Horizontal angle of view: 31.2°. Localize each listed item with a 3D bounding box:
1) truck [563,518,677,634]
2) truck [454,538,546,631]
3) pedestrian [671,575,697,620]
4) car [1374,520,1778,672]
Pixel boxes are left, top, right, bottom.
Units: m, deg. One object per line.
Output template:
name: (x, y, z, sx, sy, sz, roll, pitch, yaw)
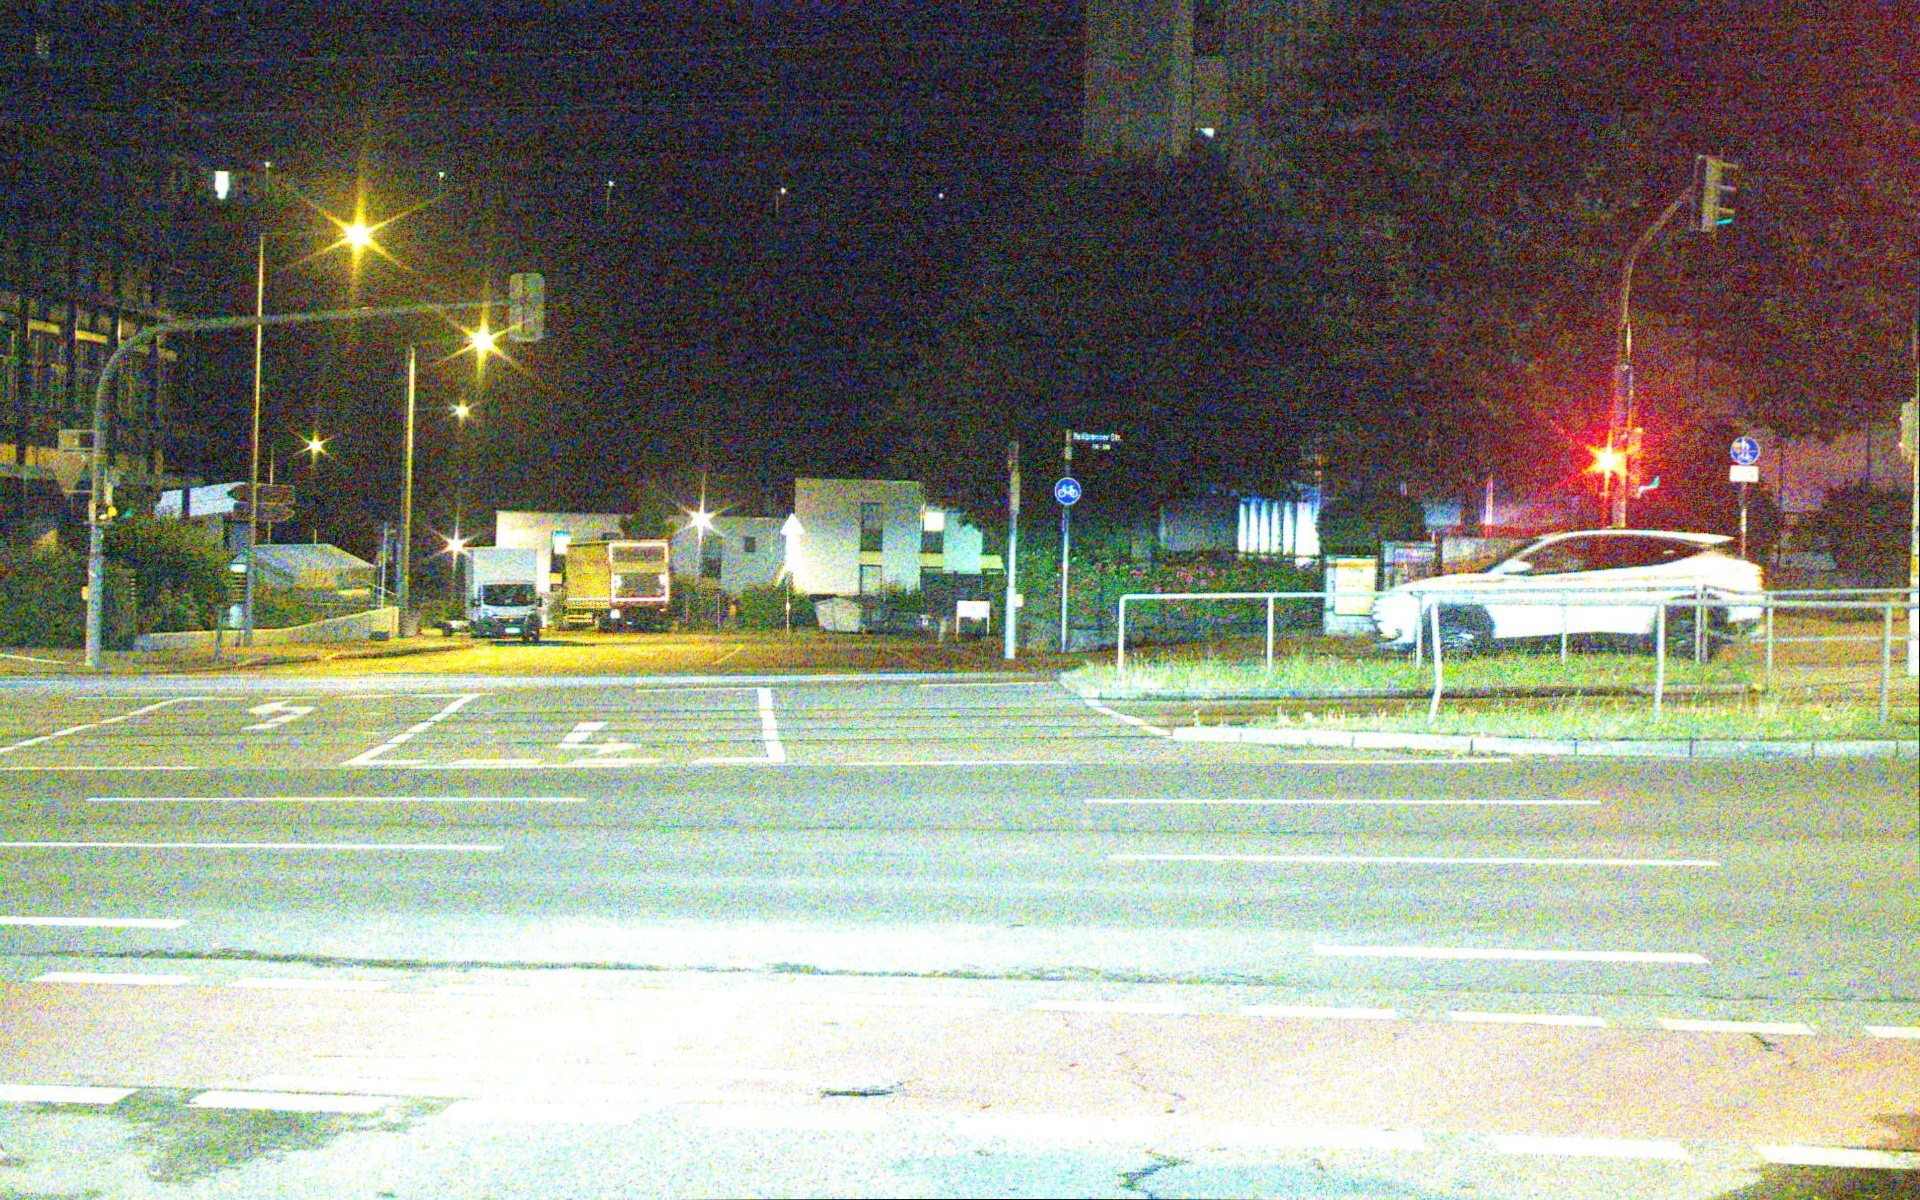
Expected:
truck: (-14.776, -1.014, 148.854, 3.359, 4.826, 7.908, 1, 0, -17)
truck: (-16.055, -0.529, 119.674, 2.417, 3.078, 6.439, 1, 0, -14)
pedestrian: (-11.848, -0.093, 147.583, 0.849, 1.905, 1.007, 1, 0, -18)
car: (7.127, -0.043, 40.148, 4.398, 1.638, 1.941, 1, 0, 3)
